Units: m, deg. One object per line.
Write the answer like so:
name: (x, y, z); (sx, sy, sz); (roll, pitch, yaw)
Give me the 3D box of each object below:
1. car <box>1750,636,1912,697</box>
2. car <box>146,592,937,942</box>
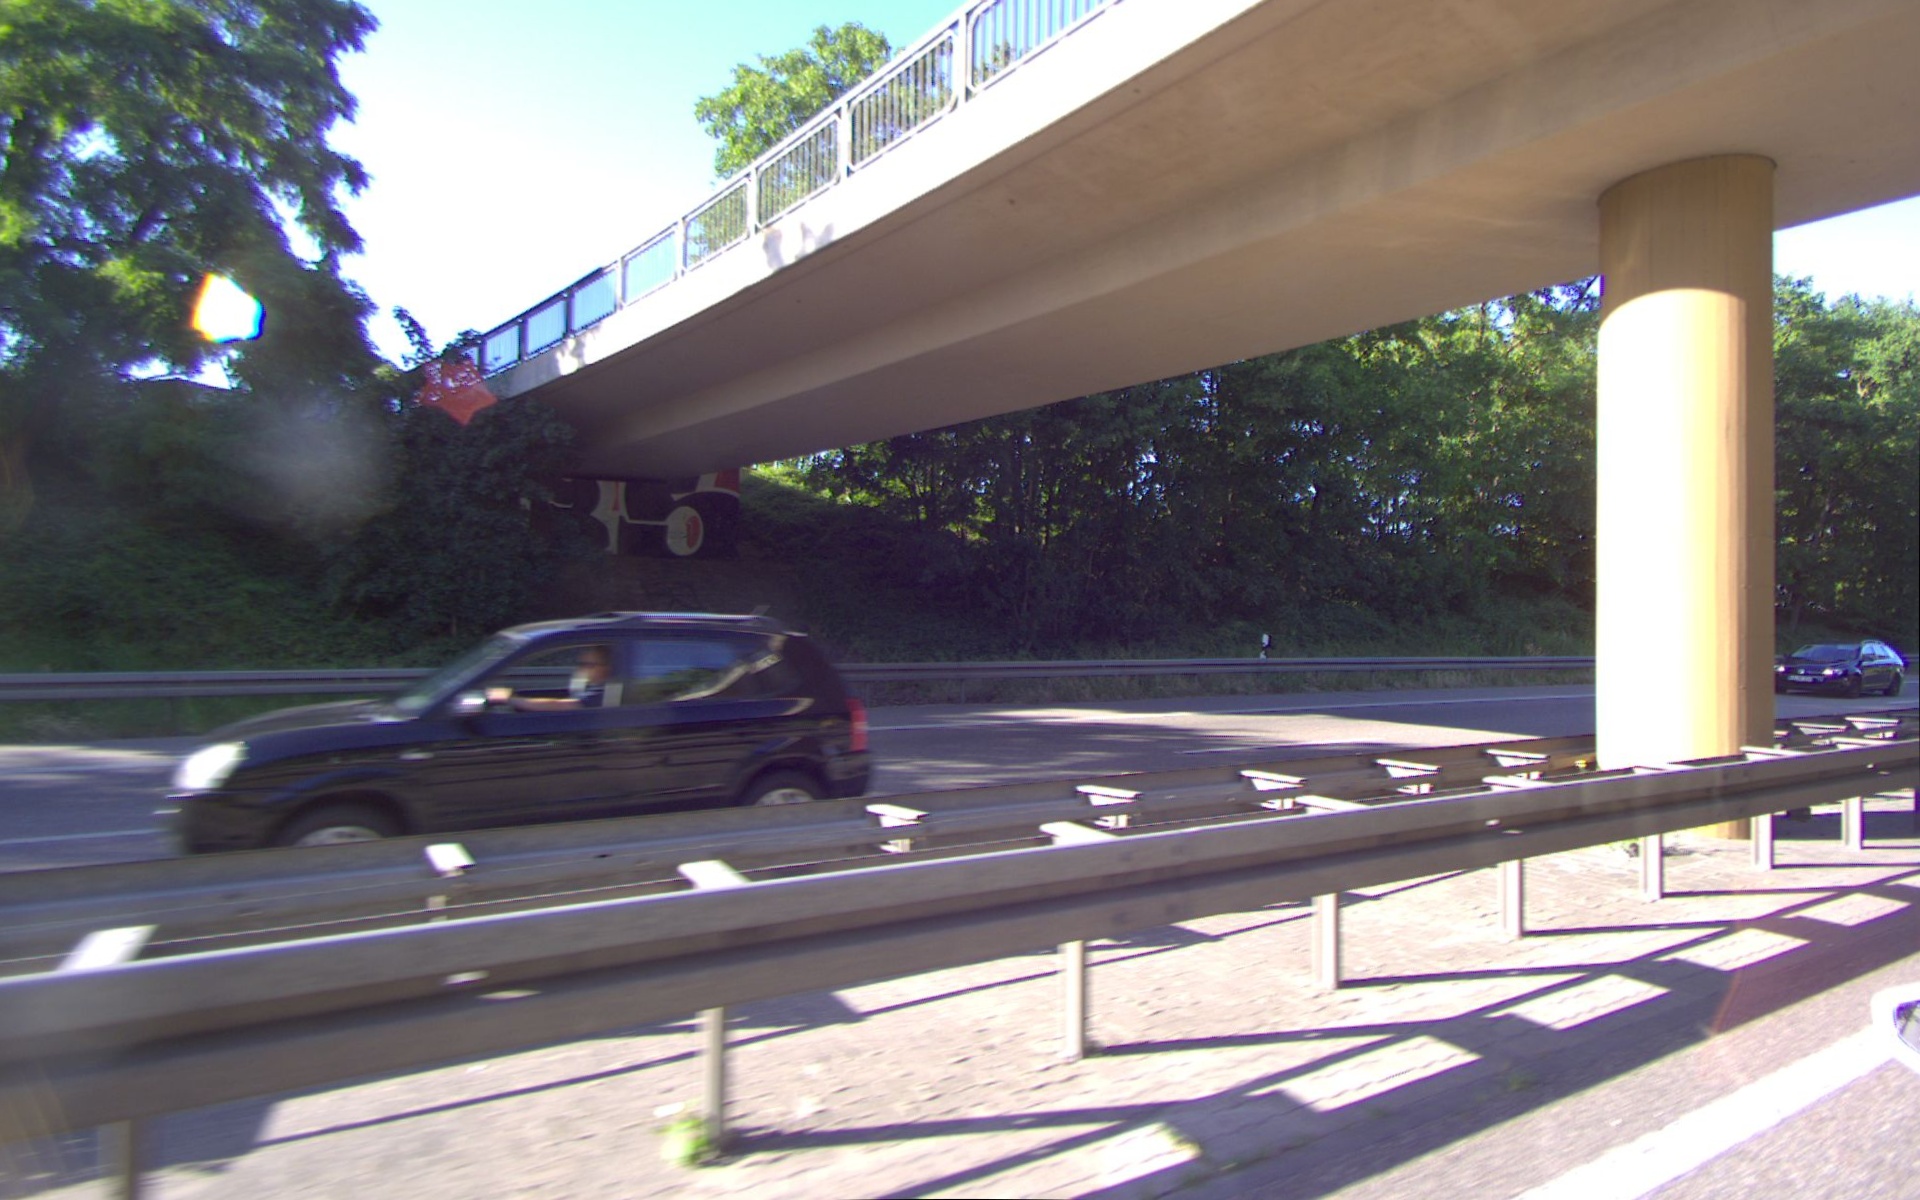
car: (23.559, 1.748, 27.132); (4.652, 1.469, 1.951); (1, -1, -31)
car: (-2.609, 0.896, 7.055); (4.539, 1.747, 1.951); (1, -1, -31)
